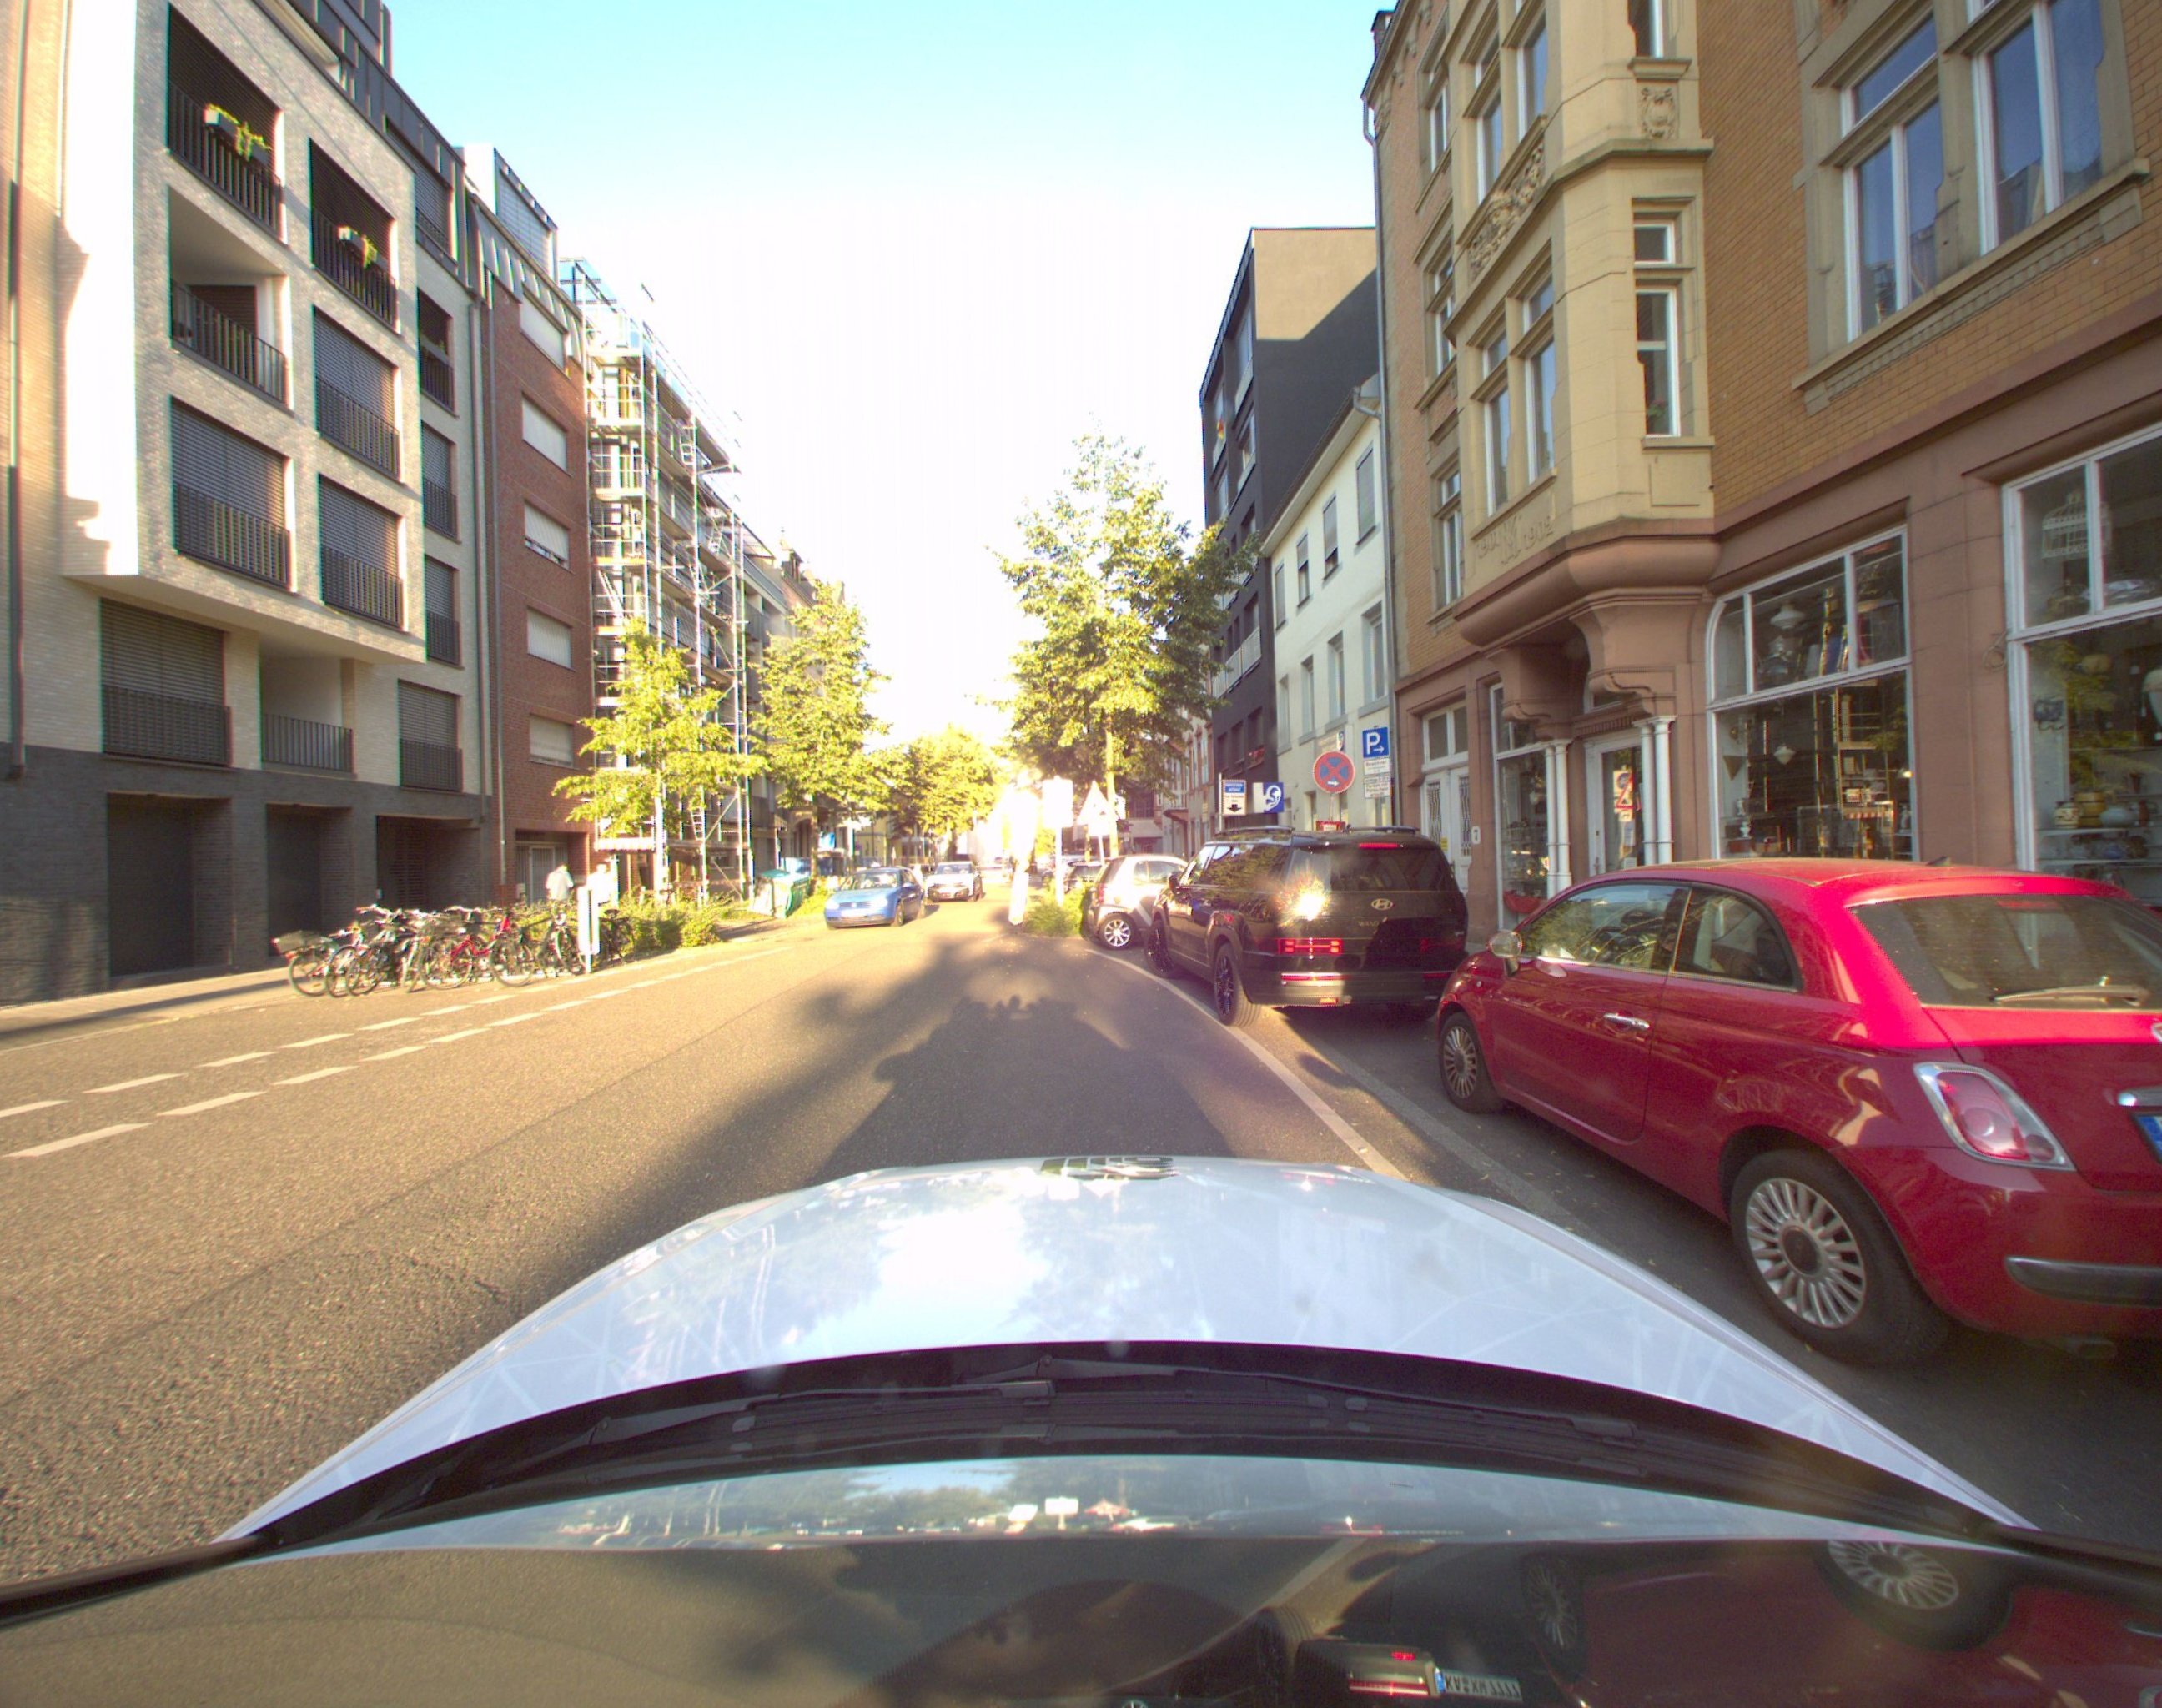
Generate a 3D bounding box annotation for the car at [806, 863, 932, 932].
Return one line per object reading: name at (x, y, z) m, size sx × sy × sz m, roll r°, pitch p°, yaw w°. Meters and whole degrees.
car at (-5.096, 0.988, 20.230) m, size 1.831 × 1.441 × 4.332 m, roll -3°, pitch -1°, yaw 1°

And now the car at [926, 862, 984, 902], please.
car at (-4.979, 1.070, 32.675) m, size 1.881 × 1.480 × 4.452 m, roll 0°, pitch -1°, yaw -4°

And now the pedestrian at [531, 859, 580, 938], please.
pedestrian at (-12.107, 1.003, 18.774) m, size 0.717 × 1.767 × 0.692 m, roll 0°, pitch -1°, yaw -10°

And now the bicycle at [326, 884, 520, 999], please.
bicycle at (-9.460, 1.175, 11.946) m, size 0.781 × 1.373 × 3.131 m, roll 0°, pitch -1°, yaw -10°

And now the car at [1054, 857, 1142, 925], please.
car at (0.356, 0.956, 22.711) m, size 1.990 × 1.668 × 4.501 m, roll 0°, pitch -1°, yaw -5°

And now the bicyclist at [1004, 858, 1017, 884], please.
bicyclist at (-4.759, 1.127, 55.243) m, size 0.779 × 1.696 × 1.005 m, roll -2°, pitch -1°, yaw -4°

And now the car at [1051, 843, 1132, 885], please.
car at (0.571, 0.499, 41.683) m, size 3.971 × 2.013 × 2.001 m, roll -2°, pitch 0°, yaw 2°

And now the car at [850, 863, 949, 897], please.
car at (-8.227, 1.175, 37.153) m, size 4.090 × 1.466 × 1.889 m, roll 0°, pitch -1°, yaw -1°

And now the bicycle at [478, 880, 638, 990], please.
bicycle at (-7.736, 1.105, 12.296) m, size 0.844 × 1.351 × 3.175 m, roll -2°, pitch 0°, yaw -10°

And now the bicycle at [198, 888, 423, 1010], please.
bicycle at (-10.810, 1.239, 11.659) m, size 0.721 × 1.395 × 3.142 m, roll 0°, pitch -1°, yaw -10°

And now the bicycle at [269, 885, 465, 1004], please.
bicycle at (-10.147, 1.194, 11.796) m, size 0.585 × 1.395 × 3.149 m, roll 0°, pitch -1°, yaw -10°

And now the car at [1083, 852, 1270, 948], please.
car at (1.585, 0.755, 14.048) m, size 2.965 × 1.536 × 1.430 m, roll 0°, pitch -1°, yaw -6°

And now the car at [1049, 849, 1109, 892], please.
car at (-0.178, 0.711, 36.027) m, size 2.261 × 1.766 × 4.501 m, roll -1°, pitch -1°, yaw -5°

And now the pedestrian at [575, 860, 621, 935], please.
pedestrian at (-11.481, 1.022, 19.368) m, size 0.717 × 1.740 × 0.736 m, roll 0°, pitch -1°, yaw -10°

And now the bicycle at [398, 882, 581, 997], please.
bicycle at (-8.618, 1.154, 12.122) m, size 0.893 × 1.395 × 3.155 m, roll -1°, pitch -1°, yaw -10°

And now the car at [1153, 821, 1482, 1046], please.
car at (2.019, 0.622, 8.406) m, size 1.822 × 1.695 × 4.361 m, roll 0°, pitch -1°, yaw -5°

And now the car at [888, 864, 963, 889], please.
car at (-9.271, 1.319, 48.701) m, size 4.090 × 1.466 × 1.889 m, roll 0°, pitch -1°, yaw -1°

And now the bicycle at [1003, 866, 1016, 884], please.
bicycle at (-4.861, 1.410, 55.212) m, size 0.779 × 1.204 × 2.018 m, roll -2°, pitch -1°, yaw -4°

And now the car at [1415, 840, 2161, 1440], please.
car at (2.972, 0.722, 3.674) m, size 1.582 × 1.483 × 3.266 m, roll 0°, pitch -1°, yaw 0°
